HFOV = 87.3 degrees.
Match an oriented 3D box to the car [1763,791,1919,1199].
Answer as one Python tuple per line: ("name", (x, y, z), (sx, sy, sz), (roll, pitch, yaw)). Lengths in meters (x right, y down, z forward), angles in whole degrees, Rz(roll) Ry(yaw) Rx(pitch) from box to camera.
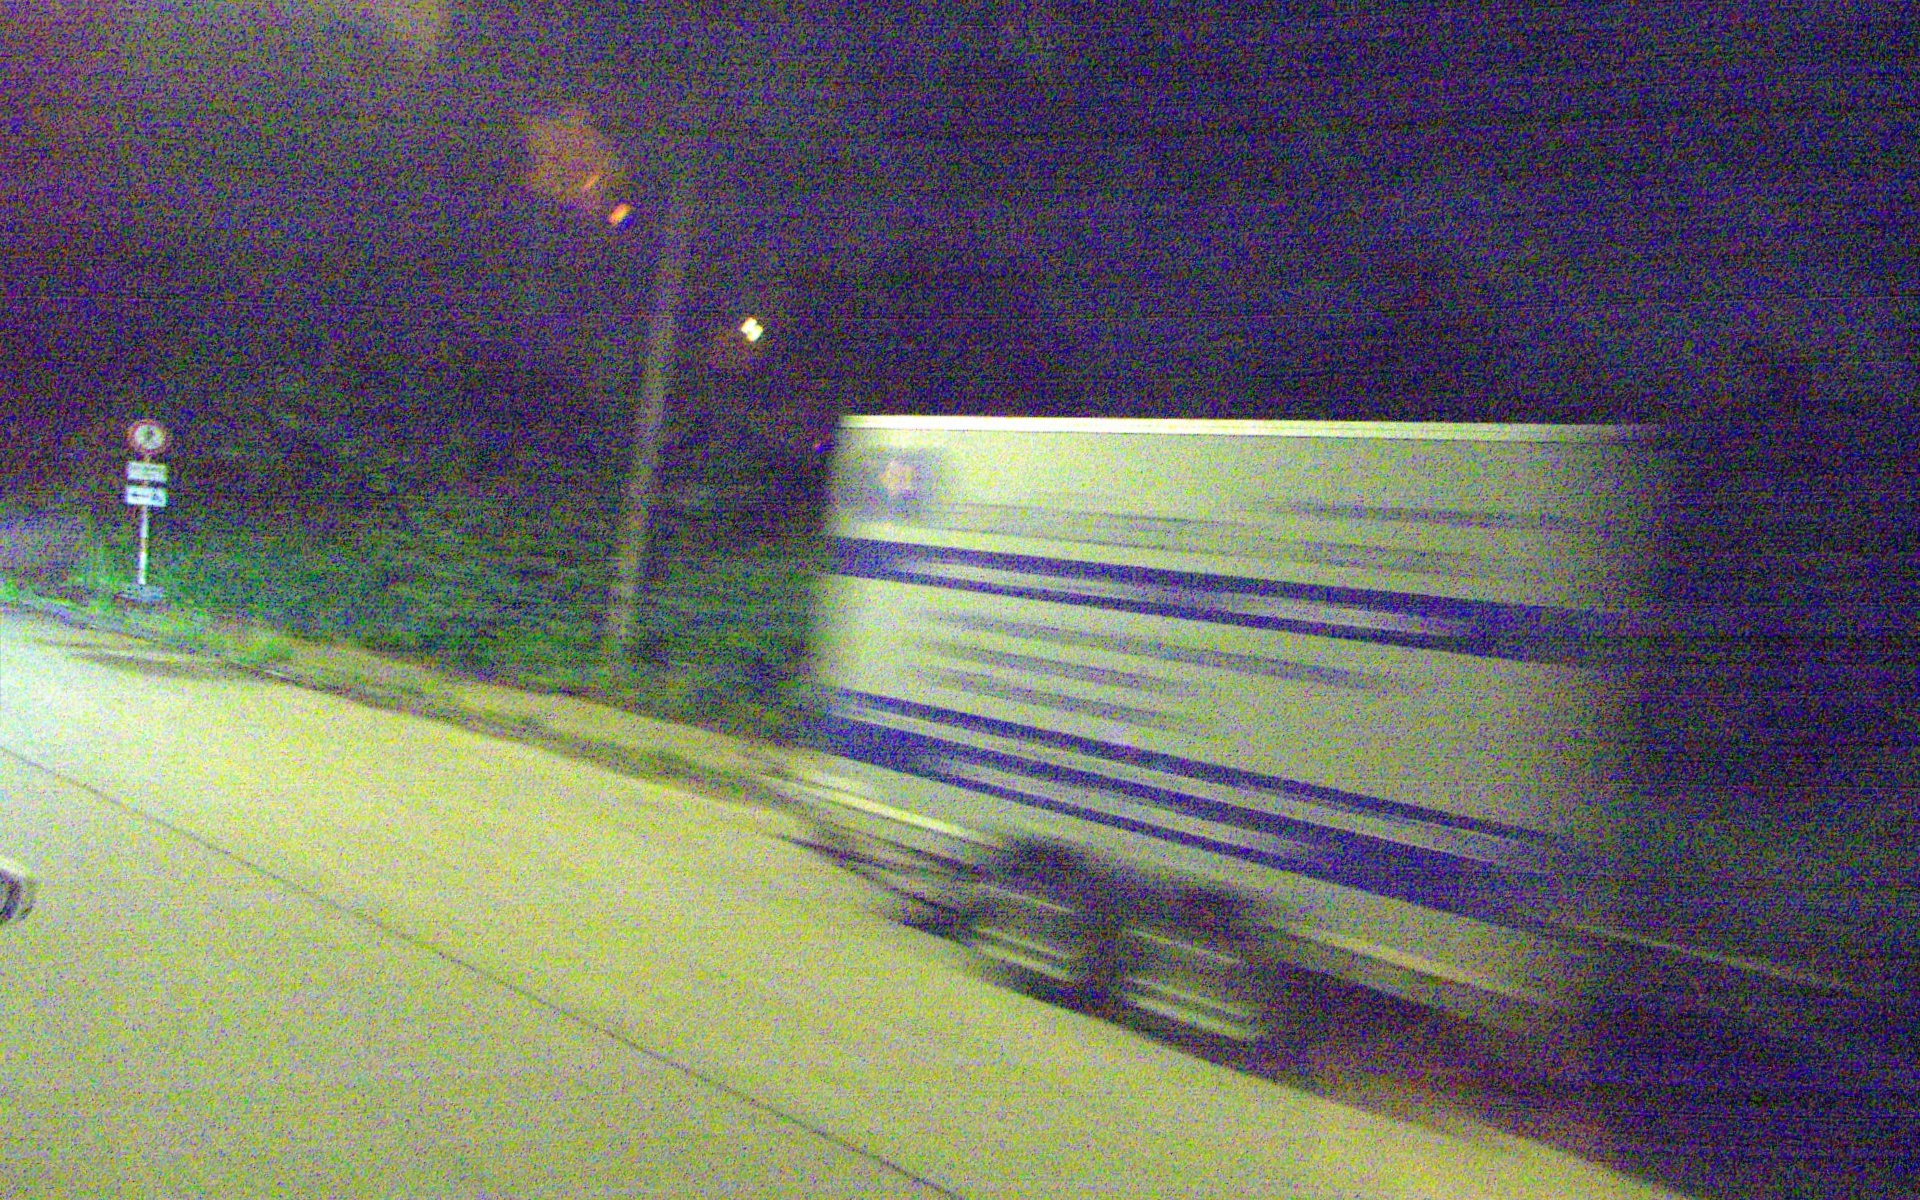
("car", (5.397, 1.709, 2.805), (4.597, 1.401, 1.732), (7, -4, 30))

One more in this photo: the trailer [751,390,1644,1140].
("trailer", (1.166, 0.523, 5.501), (3.935, 2.679, 1.998), (6, -3, 33))
